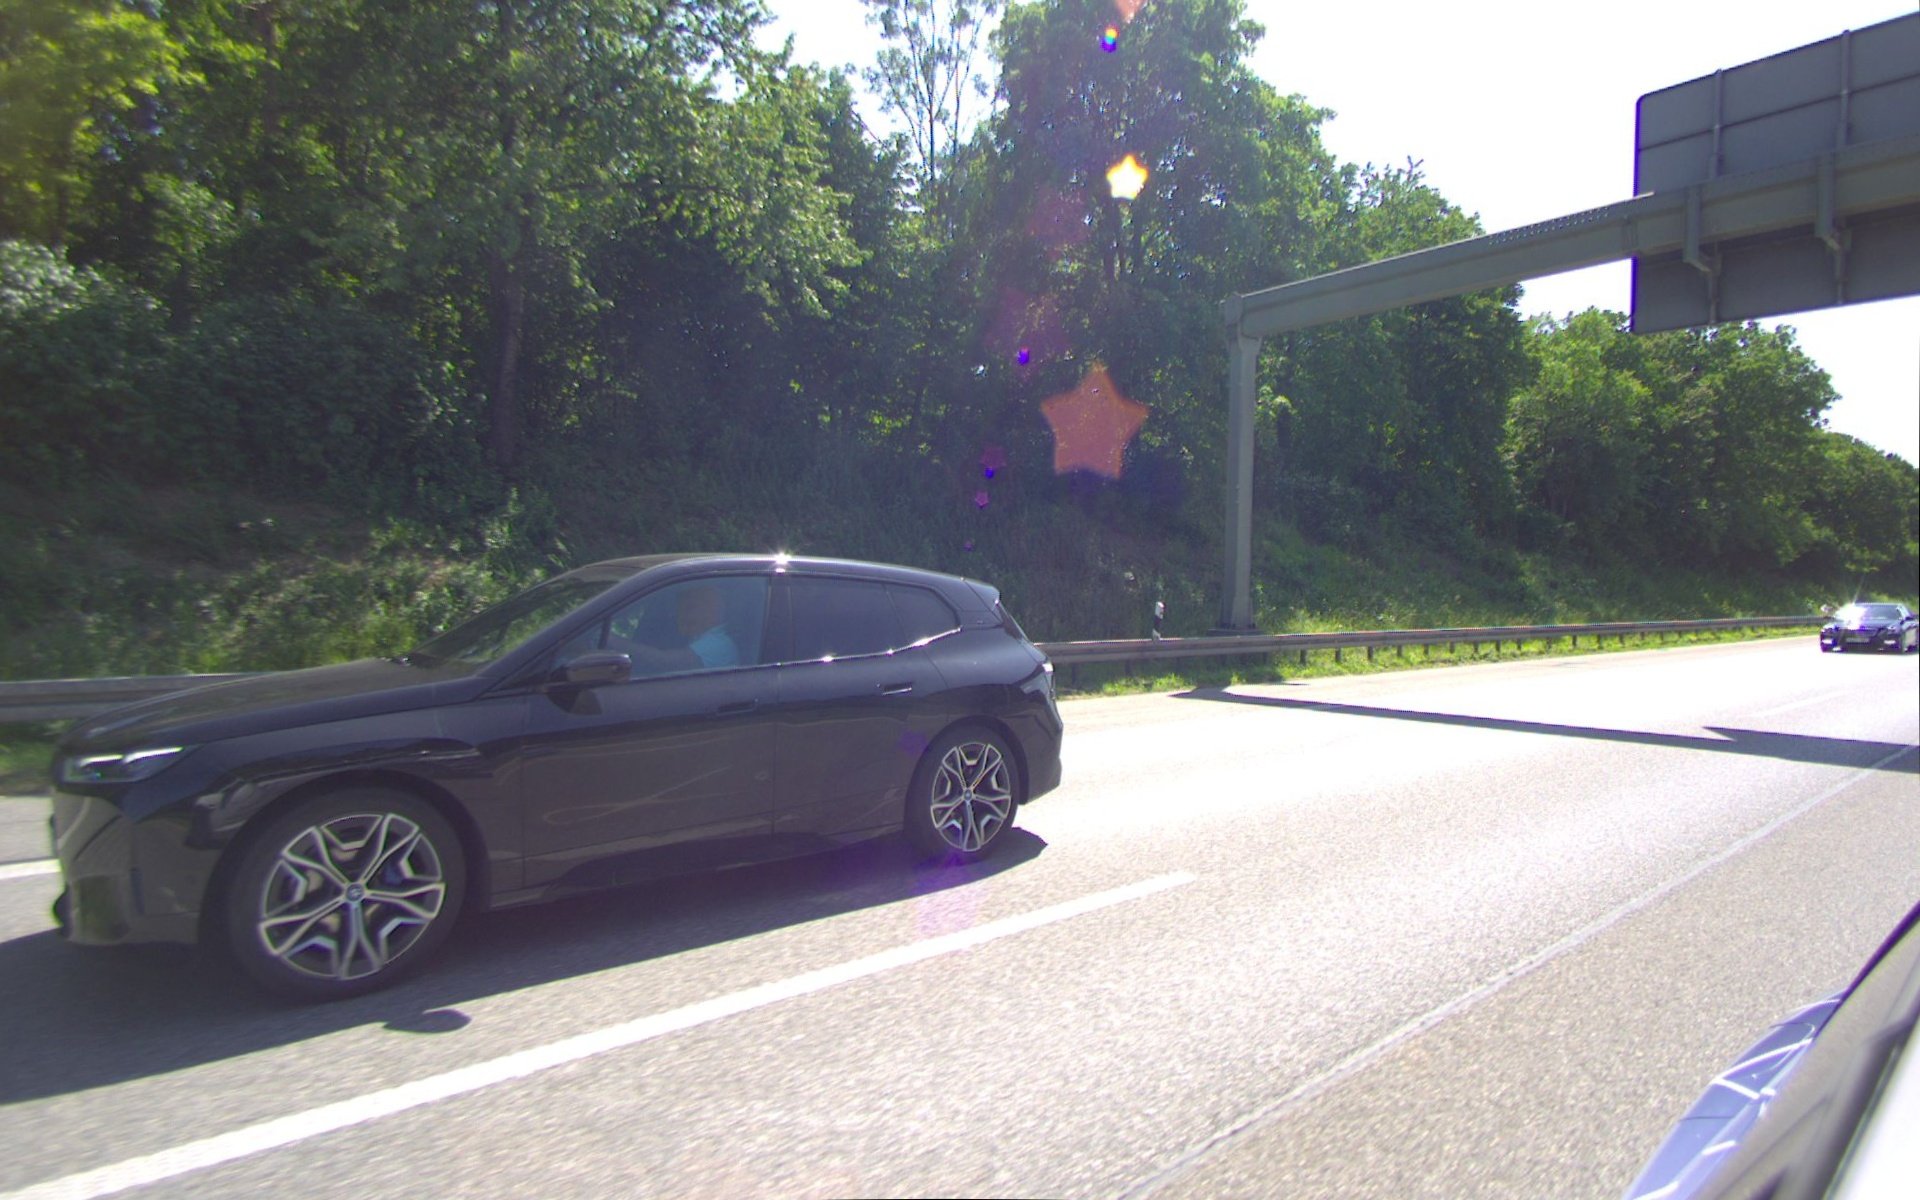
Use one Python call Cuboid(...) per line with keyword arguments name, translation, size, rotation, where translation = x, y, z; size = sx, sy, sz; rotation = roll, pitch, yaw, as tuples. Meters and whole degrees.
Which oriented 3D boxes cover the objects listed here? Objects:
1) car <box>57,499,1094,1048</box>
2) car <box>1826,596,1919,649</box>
Cuboid(name="car", translation=(-1.586, 0.522, 5.325), size=(4.602, 1.690, 1.924), rotation=(0, 0, -39))
Cuboid(name="car", translation=(27.049, 0.611, 29.697), size=(4.066, 1.415, 1.915), rotation=(0, 1, -41))
